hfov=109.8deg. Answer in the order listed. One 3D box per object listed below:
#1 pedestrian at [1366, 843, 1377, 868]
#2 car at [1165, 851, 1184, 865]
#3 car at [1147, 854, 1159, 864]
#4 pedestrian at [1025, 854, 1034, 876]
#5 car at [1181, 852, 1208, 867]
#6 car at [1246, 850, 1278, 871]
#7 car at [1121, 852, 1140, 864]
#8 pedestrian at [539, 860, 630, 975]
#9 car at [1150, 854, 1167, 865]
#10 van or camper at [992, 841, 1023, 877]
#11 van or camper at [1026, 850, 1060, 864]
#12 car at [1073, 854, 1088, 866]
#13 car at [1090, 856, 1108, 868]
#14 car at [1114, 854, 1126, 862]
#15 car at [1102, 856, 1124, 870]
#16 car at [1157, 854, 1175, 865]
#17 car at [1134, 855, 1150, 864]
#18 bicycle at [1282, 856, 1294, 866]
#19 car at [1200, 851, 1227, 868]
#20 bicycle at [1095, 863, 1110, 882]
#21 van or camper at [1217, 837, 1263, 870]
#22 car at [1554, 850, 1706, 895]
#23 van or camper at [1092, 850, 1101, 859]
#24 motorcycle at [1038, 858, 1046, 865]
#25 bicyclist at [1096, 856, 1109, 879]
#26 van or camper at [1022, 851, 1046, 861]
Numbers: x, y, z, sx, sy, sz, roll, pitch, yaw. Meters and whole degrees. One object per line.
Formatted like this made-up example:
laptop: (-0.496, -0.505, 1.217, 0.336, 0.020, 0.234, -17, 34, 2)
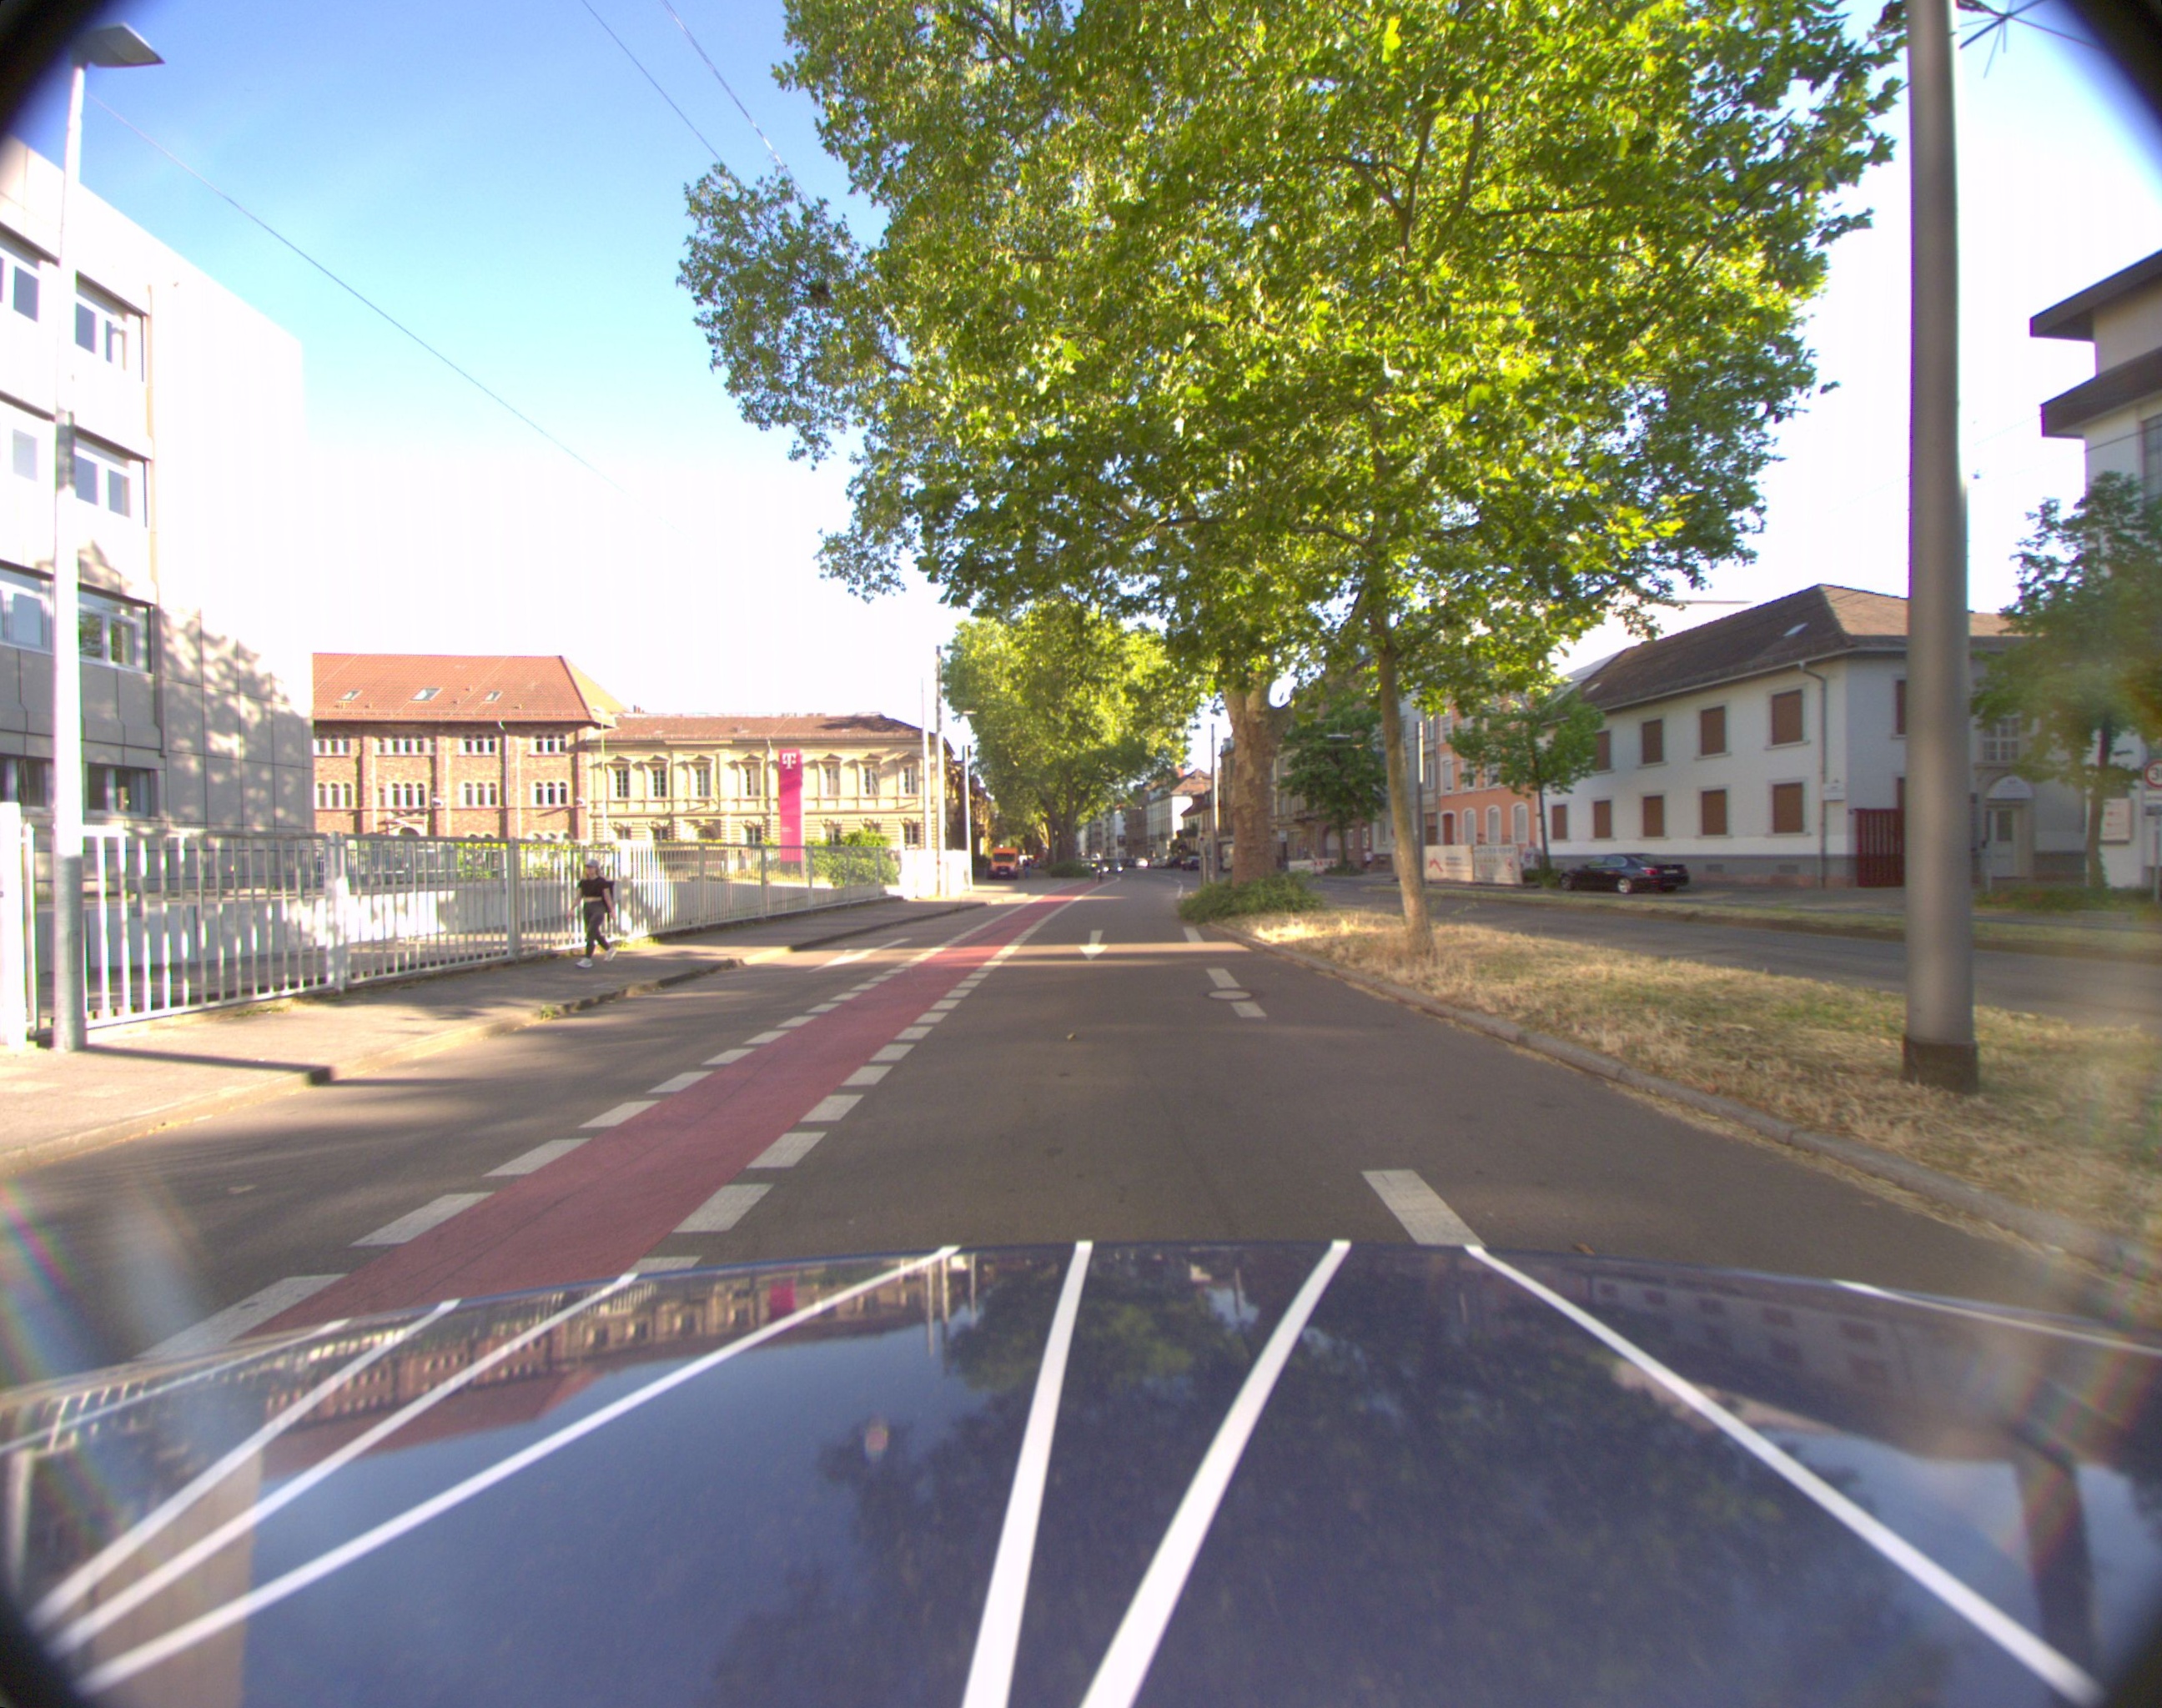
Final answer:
pedestrian: (21.633, 0.126, 56.548, 0.599, 1.807, 0.481, -1, 1, -5)
car: (12.862, 0.567, 104.647, 1.729, 1.736, 3.624, -4, 0, -4)
car: (11.349, 0.737, 119.805, 1.422, 1.502, 3.324, -3, 0, -2)
pedestrian: (-4.187, 0.901, 61.690, 0.652, 1.726, 1.007, -1, 1, -4)
car: (13.808, 0.649, 92.595, 1.999, 1.693, 4.748, -4, 0, -6)
car: (16.454, 0.576, 69.142, 1.635, 1.696, 3.369, -4, 1, -8)
car: (7.379, 0.550, 113.168, 2.000, 1.679, 4.307, -1, 0, -6)
pedestrian: (-7.564, 0.938, 11.618, 0.697, 1.674, 0.931, -1, 1, 5)
car: (11.678, 0.787, 114.406, 1.587, 1.482, 4.468, -3, 0, -5)
van or camper: (-5.588, 0.369, 58.201, 2.041, 2.544, 5.771, -1, 0, -3)
van or camper: (-6.940, 0.547, 139.073, 5.931, 2.484, 2.219, -1, 3, -7)
car: (-0.049, 0.843, 105.431, 1.726, 1.523, 3.592, -1, 0, -6)
car: (2.256, 0.998, 94.199, 1.740, 1.365, 3.917, -3, 0, -5)
car: (7.899, 0.830, 155.438, 1.799, 1.368, 4.081, -3, 0, -5)
car: (3.354, 0.944, 79.511, 1.740, 1.365, 3.917, -3, 0, -5)
car: (12.192, 0.749, 109.006, 1.668, 1.446, 4.402, -4, 0, -5)
car: (10.412, 0.846, 130.013, 1.869, 1.423, 4.081, -3, 0, -5)
bicycle: (20.031, 0.635, 73.400, 0.580, 0.919, 1.791, -1, 0, -3)
car: (14.780, 0.647, 85.001, 1.816, 1.695, 4.441, -4, 0, -6)
bicycle: (1.383, 1.170, 48.860, 0.715, 1.131, 2.119, -1, 0, -4)
van or camper: (15.686, -0.032, 75.487, 2.426, 2.930, 7.248, -4, 0, -3)
car: (20.378, 0.634, 28.499, 1.999, 1.505, 4.722, -1, 0, -6)
van or camper: (4.006, 0.143, 196.752, 1.945, 2.267, 4.596, -3, 0, -5)
motorcycle: (-6.059, 1.141, 118.767, 1.274, 1.048, 0.394, -1, 1, -41)
bicyclist: (1.382, 0.839, 48.797, 0.715, 1.435, 0.953, -1, 0, -4)
van or camper: (-12.356, 0.452, 198.975, 6.101, 2.417, 2.427, -1, 0, -5)
